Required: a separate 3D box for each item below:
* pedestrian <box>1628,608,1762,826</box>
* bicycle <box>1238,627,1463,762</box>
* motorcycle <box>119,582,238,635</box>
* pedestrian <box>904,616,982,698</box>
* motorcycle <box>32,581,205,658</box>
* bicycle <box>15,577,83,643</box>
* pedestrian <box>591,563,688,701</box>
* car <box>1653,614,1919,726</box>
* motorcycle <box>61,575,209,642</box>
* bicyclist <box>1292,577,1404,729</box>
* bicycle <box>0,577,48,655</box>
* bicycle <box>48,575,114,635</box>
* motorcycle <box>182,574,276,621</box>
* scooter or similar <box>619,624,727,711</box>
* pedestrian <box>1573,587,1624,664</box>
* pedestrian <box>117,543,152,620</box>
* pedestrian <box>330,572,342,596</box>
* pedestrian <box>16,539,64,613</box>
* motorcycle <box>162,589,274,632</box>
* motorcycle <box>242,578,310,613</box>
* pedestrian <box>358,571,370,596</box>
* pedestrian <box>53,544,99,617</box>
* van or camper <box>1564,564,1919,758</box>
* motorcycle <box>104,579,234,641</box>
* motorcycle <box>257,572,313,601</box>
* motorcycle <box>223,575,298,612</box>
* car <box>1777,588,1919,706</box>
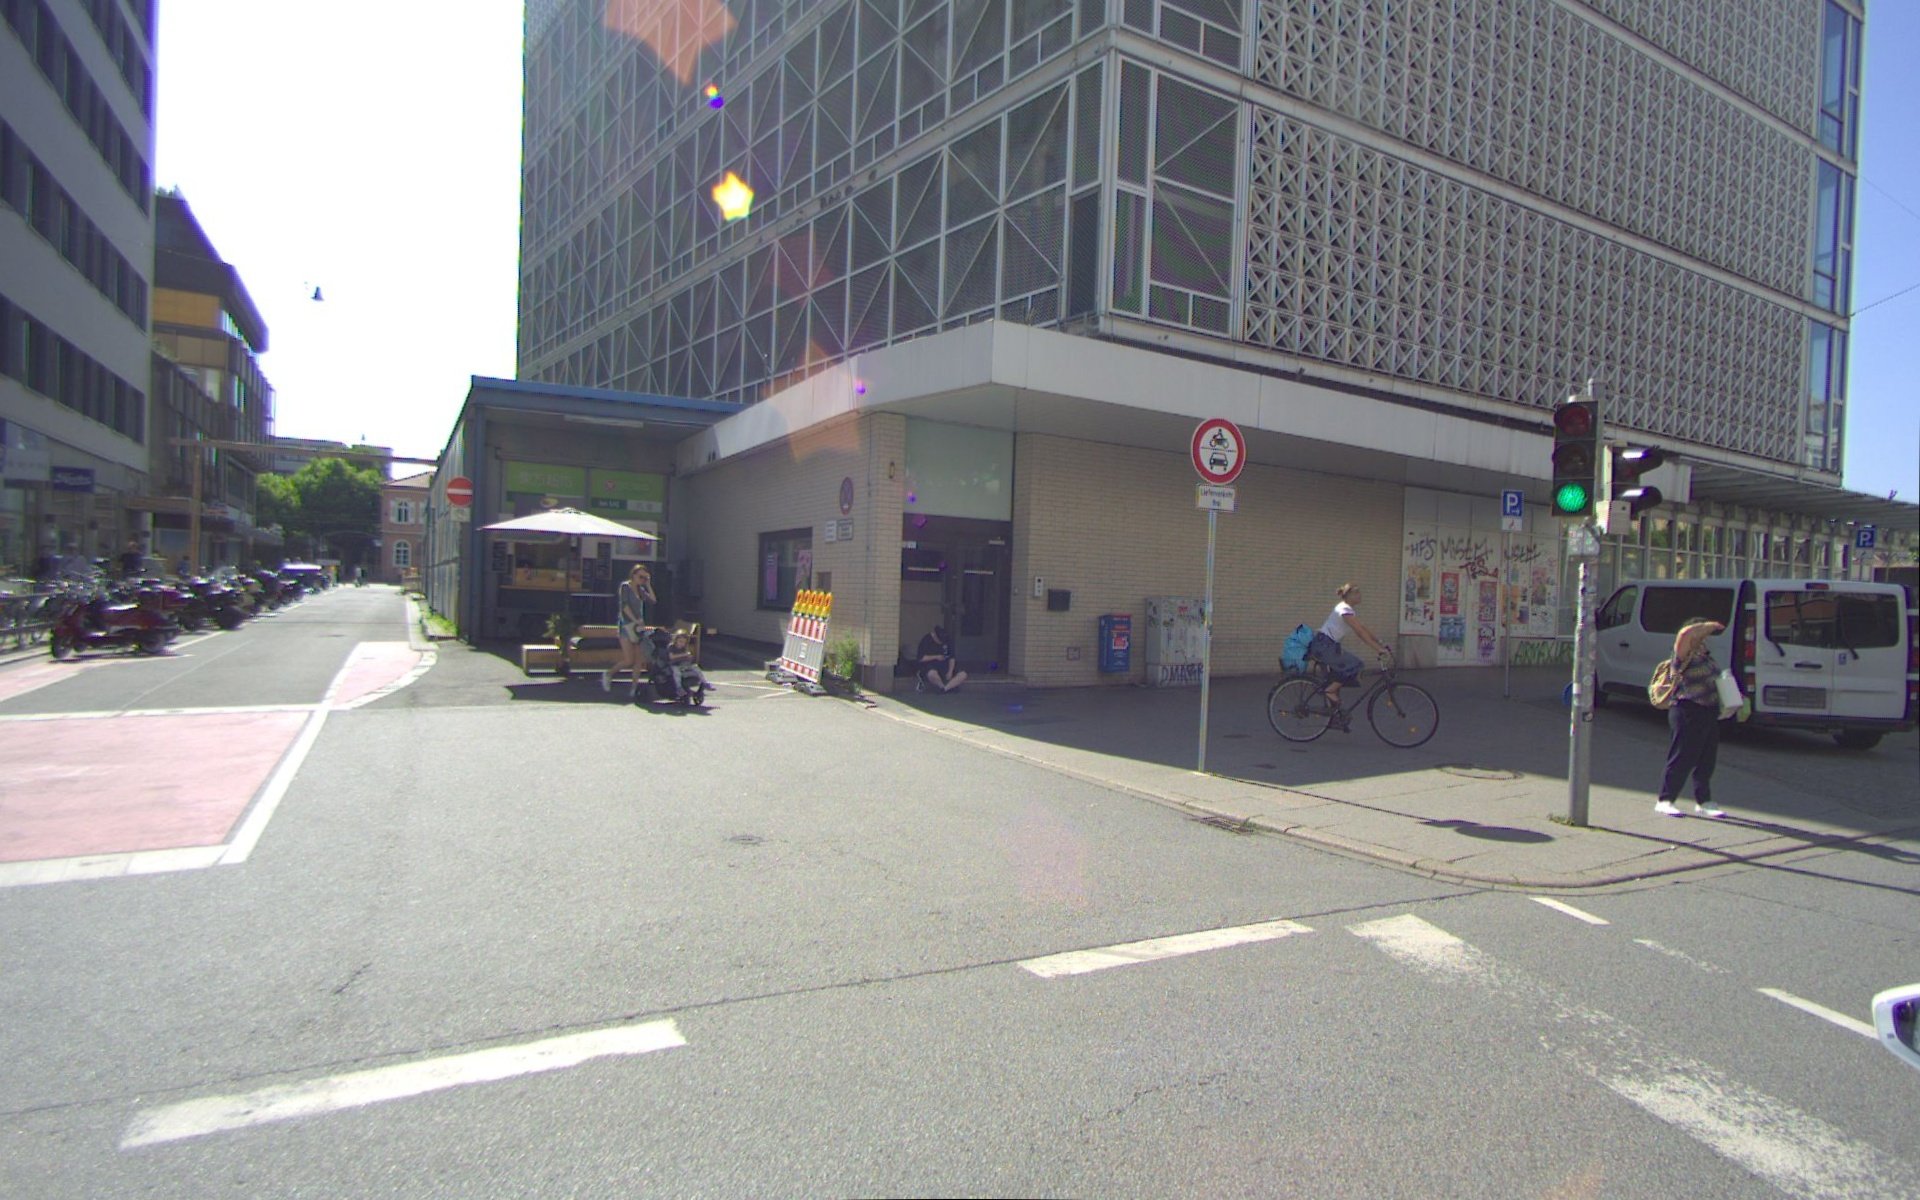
[{"bbox_3d":[5.758,0.868,7.873,0.675,1.580,0.633,0,3,-41],"label":"pedestrian"},{"bbox_3d":[4.169,0.982,10.886,2.167,1.284,0.736,1,1,18],"label":"bicycle"},{"bbox_3d":[-17.131,0.165,22.084,0.593,1.081,2.064,3,2,19],"label":"motorcycle"},{"bbox_3d":[-0.250,0.815,14.574,0.831,1.071,0.717,2,4,-31],"label":"pedestrian"},{"bbox_3d":[-13.683,0.286,16.409,0.646,1.189,2.058,0,1,34],"label":"motorcycle"},{"bbox_3d":[-16.674,0.160,18.420,0.449,1.142,2.048,1,1,-29],"label":"bicycle"},{"bbox_3d":[-4.183,0.391,13.106,0.832,1.681,0.836,7,5,42],"label":"pedestrian"},{"bbox_3d":[13.539,1.029,16.102,1.931,1.304,4.299,3,2,2],"label":"car"},{"bbox_3d":[-15.453,0.127,18.882,0.642,1.189,2.062,1,1,25],"label":"motorcycle"},{"bbox_3d":[4.176,0.543,10.880,1.055,1.560,0.736,1,1,18],"label":"bicyclist"},{"bbox_3d":[-15.321,0.226,16.161,0.450,1.141,2.047,6,-2,-30],"label":"bicycle"},{"bbox_3d":[-17.765,0.072,20.342,0.564,1.124,2.048,1,2,-29],"label":"bicycle"},{"bbox_3d":[-19.768,-0.078,27.218,0.693,1.213,2.065,2,1,16],"label":"motorcycle"},{"bbox_3d":[-3.602,0.817,12.612,0.958,0.977,0.898,3,1,40],"label":"scooter or similar"},{"bbox_3d":[13.346,0.529,21.012,0.634,1.580,0.674,1,1,-34],"label":"pedestrian"},{"bbox_3d":[-25.514,-0.555,31.058,0.659,2.322,0.762,2,0,-29],"label":"pedestrian"},{"bbox_3d":[-50.007,-1.296,80.497,0.758,1.900,0.663,2,0,-29],"label":"pedestrian"},{"bbox_3d":[-22.532,-0.577,24.606,0.659,1.781,0.762,2,0,-29],"label":"pedestrian"},{"bbox_3d":[-17.717,0.228,24.042,0.694,0.951,2.061,3,2,27],"label":"motorcycle"},{"bbox_3d":[-24.650,-0.187,36.230,0.693,1.189,2.065,2,2,15],"label":"motorcycle"},{"bbox_3d":[-45.728,-1.237,77.075,0.758,1.900,0.663,2,0,-29],"label":"pedestrian"},{"bbox_3d":[-21.938,-0.472,24.944,0.659,1.781,0.762,2,0,-29],"label":"pedestrian"},{"bbox_3d":[10.062,0.592,13.269,1.959,2.041,4.662,2,2,10],"label":"van or camper"},{"bbox_3d":[-16.313,0.184,20.784,0.594,1.189,2.062,3,2,25],"label":"motorcycle"},{"bbox_3d":[-28.593,-0.558,42.590,0.696,1.189,1.860,3,2,38],"label":"motorcycle"},{"bbox_3d":[-23.153,-0.233,33.282,0.693,1.189,2.065,2,2,15],"label":"motorcycle"},{"bbox_3d":[17.016,0.790,17.687,1.969,1.935,4.448,2,1,8],"label":"car"}]
